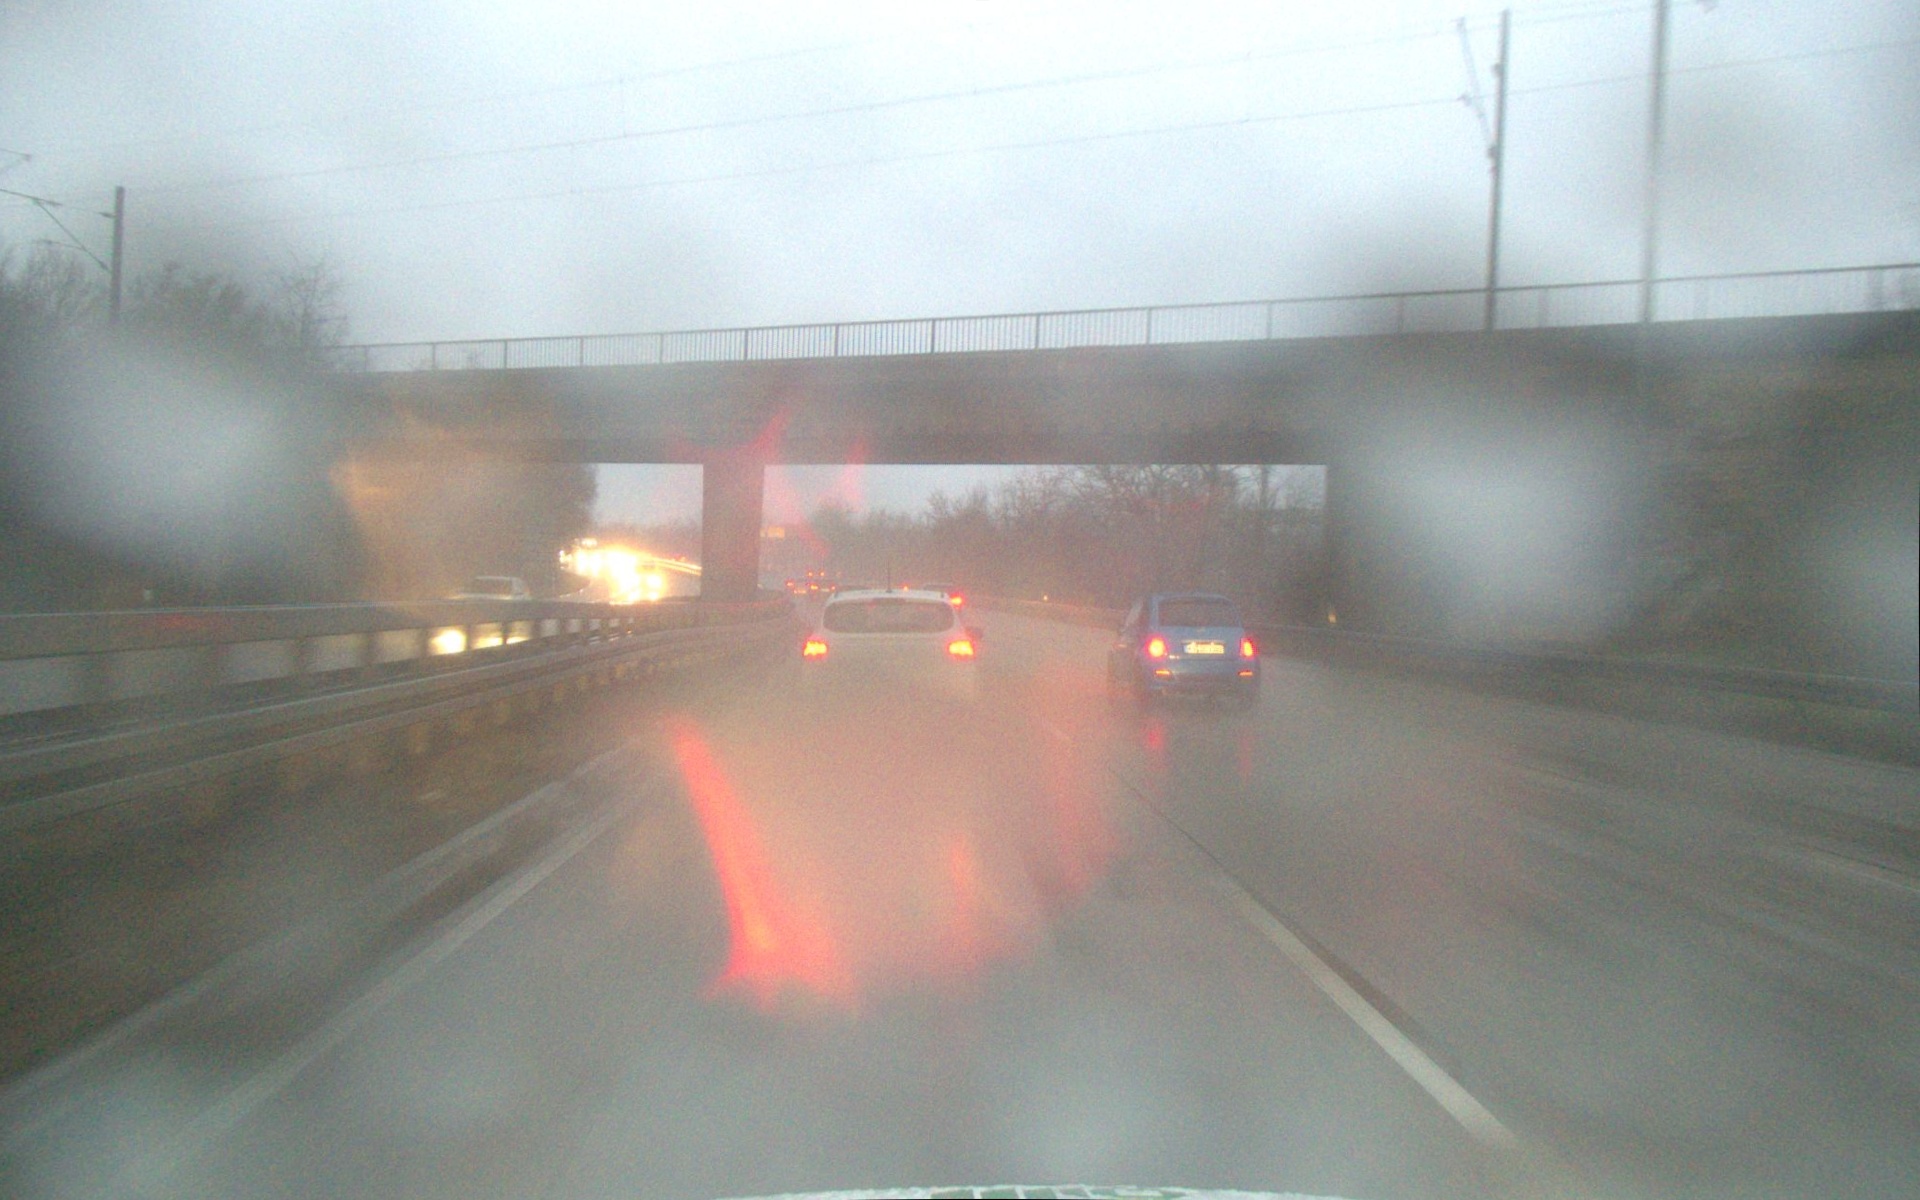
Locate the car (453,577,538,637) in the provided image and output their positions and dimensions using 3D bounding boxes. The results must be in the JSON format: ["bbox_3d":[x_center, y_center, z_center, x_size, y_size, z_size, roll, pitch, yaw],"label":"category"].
[{"bbox_3d":[-13.928,0.188,49.751,1.551,1.699,4.293,1,0,-3],"label":"car"}]

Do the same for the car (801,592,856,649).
[{"bbox_3d":[-5.032,0.800,63.526,1.954,2.049,3.996,2,-1,-4],"label":"car"}]

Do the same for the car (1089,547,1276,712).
[{"bbox_3d":[3.013,0.404,23.115,1.894,2.055,3.771,2,-1,-3],"label":"car"}]

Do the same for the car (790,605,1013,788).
[{"bbox_3d":[-0.562,0.907,17.092,1.984,1.602,3.999,2,-1,-1],"label":"car"}]

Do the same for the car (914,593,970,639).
[{"bbox_3d":[-0.756,0.678,66.265,1.895,1.573,3.769,-4,-2,-5],"label":"car"}]
